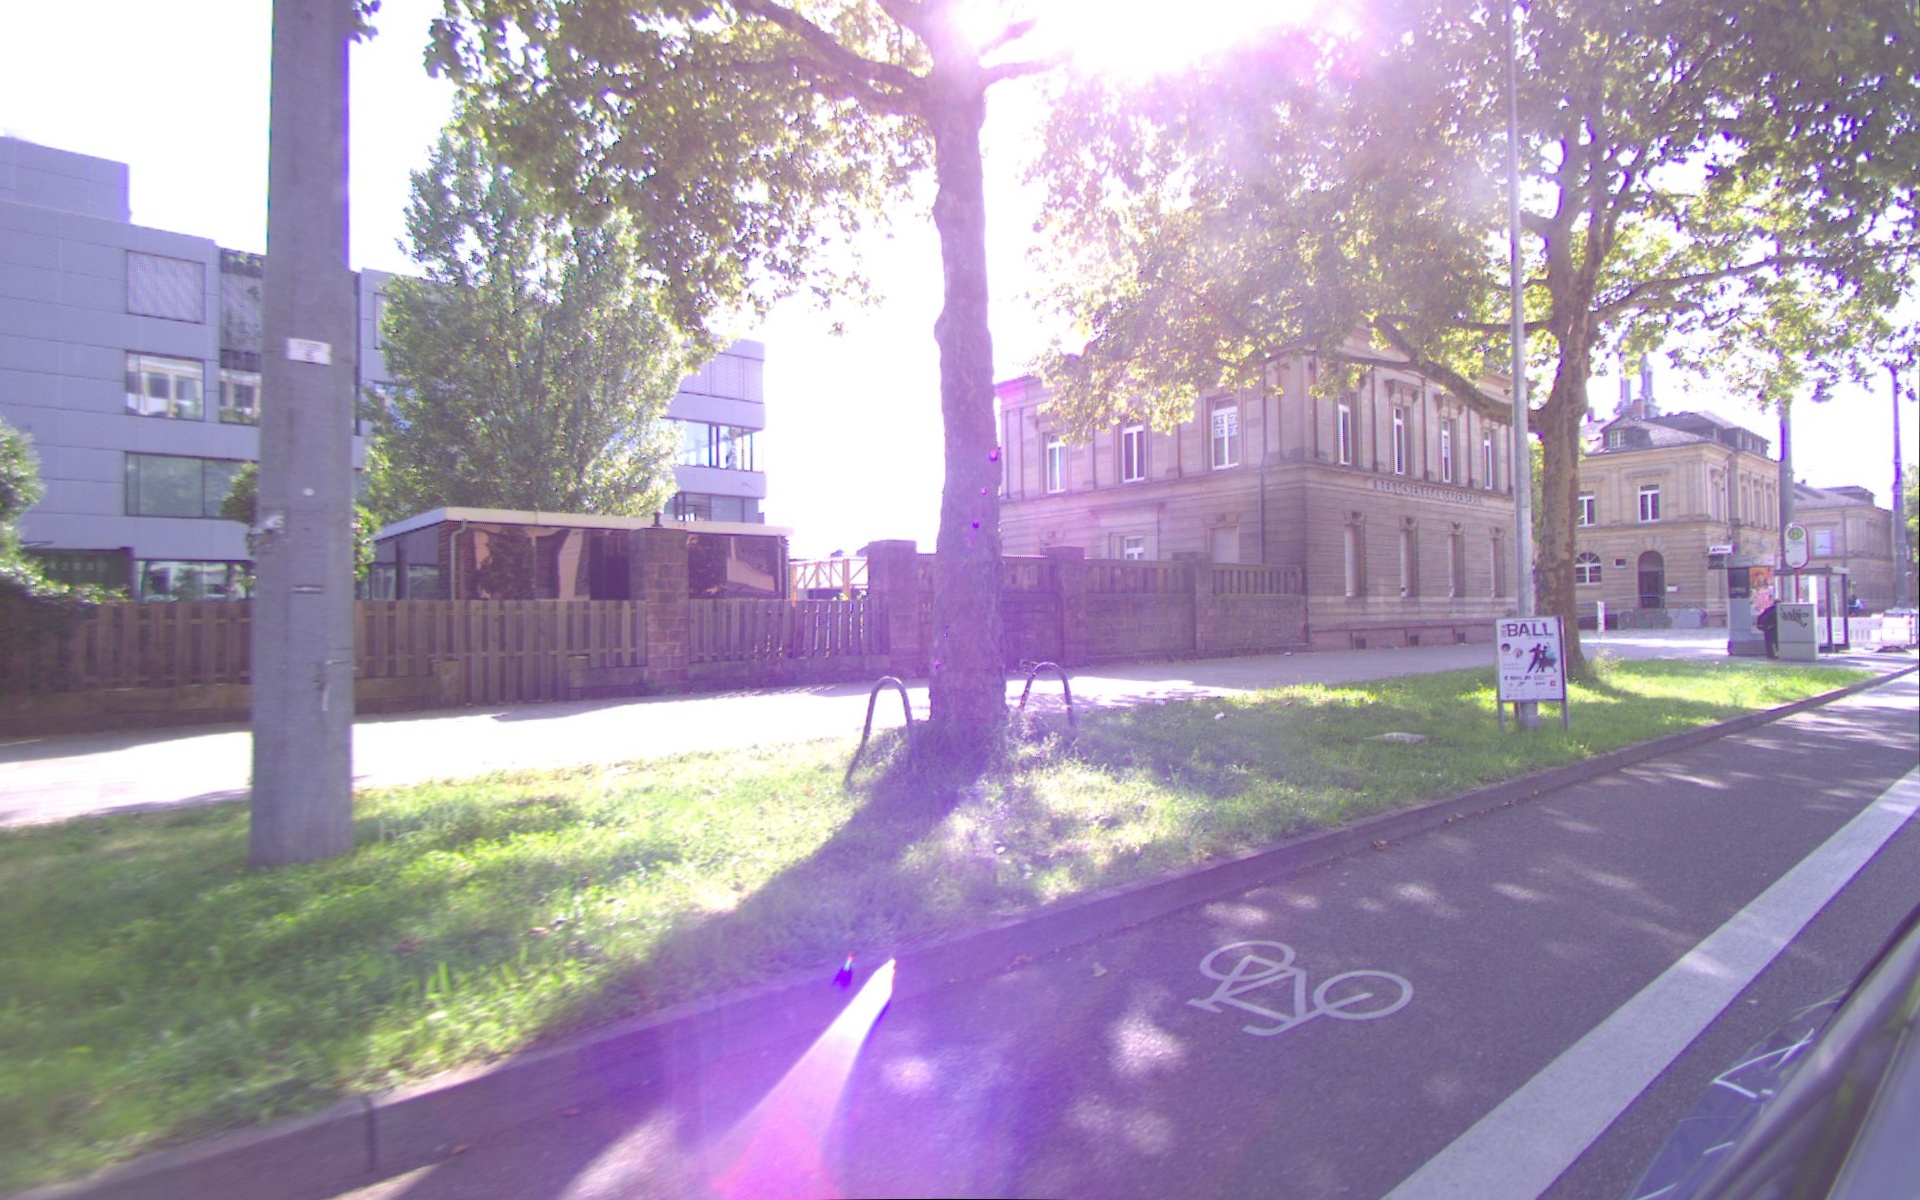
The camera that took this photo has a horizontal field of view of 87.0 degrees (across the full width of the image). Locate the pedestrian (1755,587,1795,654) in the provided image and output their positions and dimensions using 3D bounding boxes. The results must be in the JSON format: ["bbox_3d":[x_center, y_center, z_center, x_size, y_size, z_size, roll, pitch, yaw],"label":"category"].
[{"bbox_3d":[21.359,0.525,26.532,0.684,1.718,0.642,-1,-1,29],"label":"pedestrian"}]

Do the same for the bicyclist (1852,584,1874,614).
[{"bbox_3d":[47.621,-0.020,53.366,0.939,1.563,0.718,1,-2,-42],"label":"bicyclist"}]

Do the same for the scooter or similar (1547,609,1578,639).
[{"bbox_3d":[25.041,1.000,42.068,1.228,1.226,0.423,2,-2,-17],"label":"scooter or similar"}]

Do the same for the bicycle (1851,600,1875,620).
[{"bbox_3d":[47.571,0.541,53.306,1.870,1.055,0.718,1,-2,-43],"label":"bicycle"}]
